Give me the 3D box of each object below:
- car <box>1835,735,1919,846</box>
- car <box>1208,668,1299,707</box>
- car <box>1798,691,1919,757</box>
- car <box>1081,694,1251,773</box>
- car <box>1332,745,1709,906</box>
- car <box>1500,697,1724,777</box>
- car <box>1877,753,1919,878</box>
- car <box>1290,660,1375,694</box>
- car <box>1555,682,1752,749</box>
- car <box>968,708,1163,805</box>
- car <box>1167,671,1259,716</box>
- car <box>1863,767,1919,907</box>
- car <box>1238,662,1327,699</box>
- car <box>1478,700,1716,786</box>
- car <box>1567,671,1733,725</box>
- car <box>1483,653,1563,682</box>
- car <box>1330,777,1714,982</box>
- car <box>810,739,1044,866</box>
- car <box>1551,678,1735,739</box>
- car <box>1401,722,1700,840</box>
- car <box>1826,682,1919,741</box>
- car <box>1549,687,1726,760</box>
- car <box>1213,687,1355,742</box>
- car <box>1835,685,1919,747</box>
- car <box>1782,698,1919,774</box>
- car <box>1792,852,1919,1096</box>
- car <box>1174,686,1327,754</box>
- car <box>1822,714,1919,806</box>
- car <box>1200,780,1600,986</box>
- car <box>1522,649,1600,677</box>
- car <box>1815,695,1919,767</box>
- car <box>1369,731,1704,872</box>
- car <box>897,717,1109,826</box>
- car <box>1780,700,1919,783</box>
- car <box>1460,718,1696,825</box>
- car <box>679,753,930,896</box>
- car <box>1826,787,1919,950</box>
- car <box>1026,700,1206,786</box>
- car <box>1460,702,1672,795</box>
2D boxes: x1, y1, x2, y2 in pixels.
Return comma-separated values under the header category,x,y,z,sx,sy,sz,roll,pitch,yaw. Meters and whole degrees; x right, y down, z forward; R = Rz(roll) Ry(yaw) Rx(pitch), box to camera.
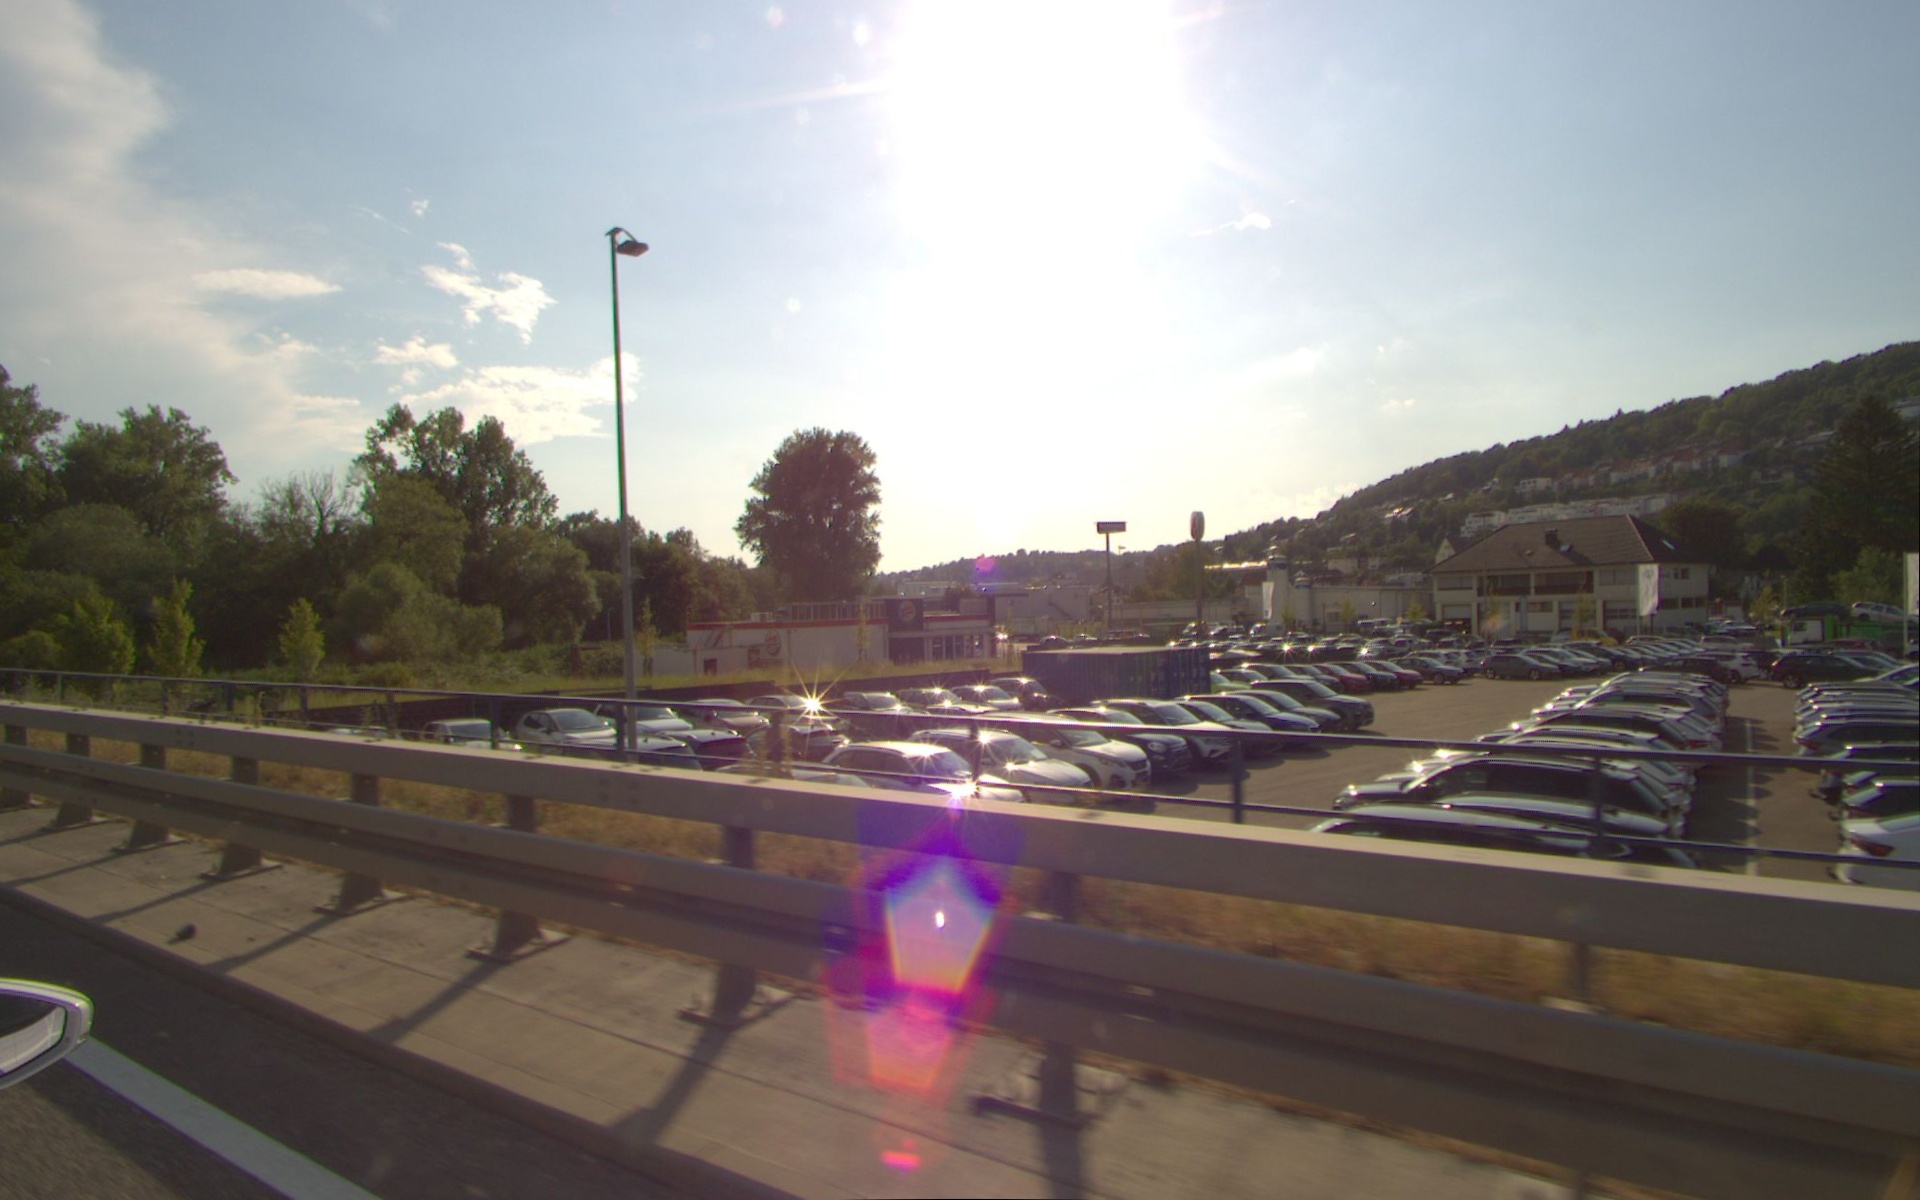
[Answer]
category,x,y,z,sx,sy,sz,roll,pitch,yaw
car,17.860,3.381,17.331,3.952,1.705,1.768,-2,-2,39
car,13.555,4.023,46.377,1.734,1.597,3.748,1,-2,-41
car,26.720,3.505,28.327,4.516,1.657,1.873,-2,-2,38
car,5.280,3.372,25.867,3.950,1.705,1.769,-2,-2,37
car,8.244,3.229,15.101,4.661,1.671,1.996,-2,-2,31
car,16.668,3.439,25.810,4.666,1.657,1.875,-2,-2,35
car,16.407,3.339,14.878,3.952,1.705,1.768,-2,-2,39
car,19.070,3.893,51.354,1.734,1.597,3.748,1,-2,-41
car,20.523,3.358,29.780,4.670,1.657,1.873,-2,-2,37
car,2.279,3.375,22.142,3.950,1.705,1.769,-2,-2,37
car,11.428,4.203,45.358,1.734,1.816,3.748,1,-2,-41
car,14.908,3.337,13.463,3.952,1.705,1.768,-2,-2,39
car,15.389,3.808,47.906,1.734,1.597,3.748,1,-2,-41
car,15.253,3.353,24.144,4.668,1.657,1.874,-2,-2,36
car,24.196,3.382,35.231,4.670,1.657,1.873,-2,-2,37
car,33.040,3.962,58.841,1.734,1.597,3.748,1,-2,-41
car,6.910,3.328,12.596,3.944,1.705,1.772,-2,-2,33
car,-0.636,3.550,18.120,3.944,1.705,1.771,-2,-2,33
car,21.494,3.361,31.628,4.670,1.657,1.873,-2,-2,37
car,11.030,3.297,18.962,4.665,1.657,1.875,-2,-2,34
car,30.306,3.549,31.944,3.952,1.705,1.768,-2,-2,39
car,18.739,3.350,27.792,3.950,1.705,1.769,-2,-2,37
car,10.187,3.564,31.592,3.949,1.482,1.700,-2,-2,37
car,28.933,3.497,30.013,3.952,1.705,1.768,-2,-2,39
car,23.457,3.368,24.815,4.671,1.657,1.873,-2,-2,38
car,9.674,3.357,8.513,3.782,1.700,1.609,-2,-2,33
car,8.469,3.440,29.315,3.950,1.705,1.769,-2,-2,37
car,20.689,3.385,20.914,3.952,1.705,1.768,-2,-2,39
car,4.935,3.046,11.424,3.943,1.482,1.703,-2,-2,32
car,36.865,3.854,61.479,1.734,1.597,3.748,1,-2,-41
car,25.235,3.469,26.432,3.952,1.705,1.768,-2,-2,39
car,9.467,3.239,16.775,4.600,1.737,1.833,-2,-2,31
car,0.812,3.331,20.055,3.948,1.705,1.770,-2,-2,36
car,21.885,3.259,22.943,4.671,1.657,1.873,-2,-2,38
car,12.702,3.437,20.687,3.952,1.705,1.768,-2,-2,39
car,-2.615,3.579,16.554,3.944,1.705,1.771,-2,-2,33
car,13.213,3.336,11.640,4.680,1.657,1.869,-2,-3,44
car,3.739,3.378,24.220,3.950,1.705,1.769,-2,-2,37
car,13.757,3.297,22.819,3.950,1.705,1.769,-2,-2,38
